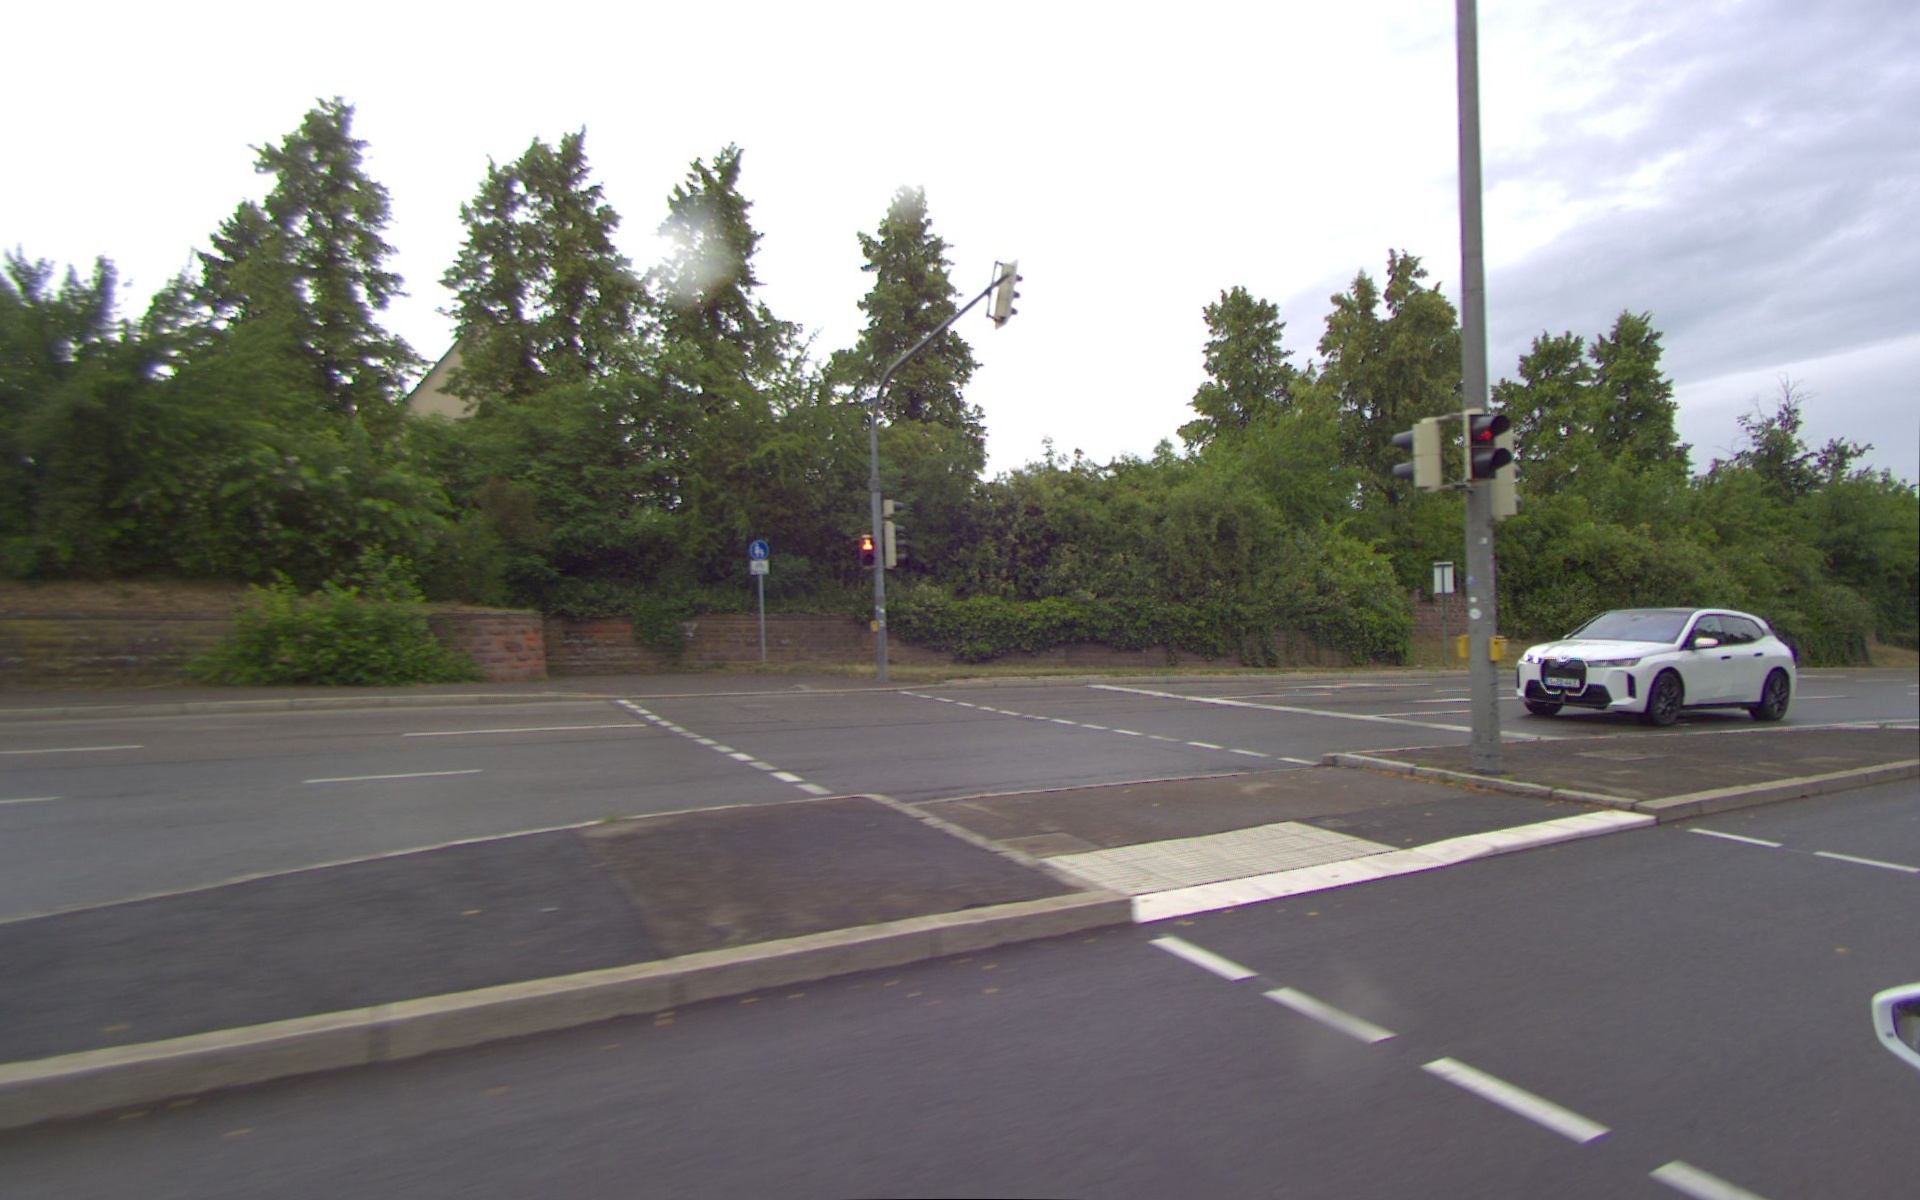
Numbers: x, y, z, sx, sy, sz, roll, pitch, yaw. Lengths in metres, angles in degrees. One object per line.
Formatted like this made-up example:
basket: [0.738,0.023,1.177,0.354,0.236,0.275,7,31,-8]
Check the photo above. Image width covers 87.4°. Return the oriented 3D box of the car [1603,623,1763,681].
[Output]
car: [19.881,1.415,27.586,4.399,1.456,1.812,2,-1,-28]

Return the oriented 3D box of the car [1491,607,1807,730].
car: [10.714,0.989,15.550,4.941,1.657,1.938,1,-1,-27]
